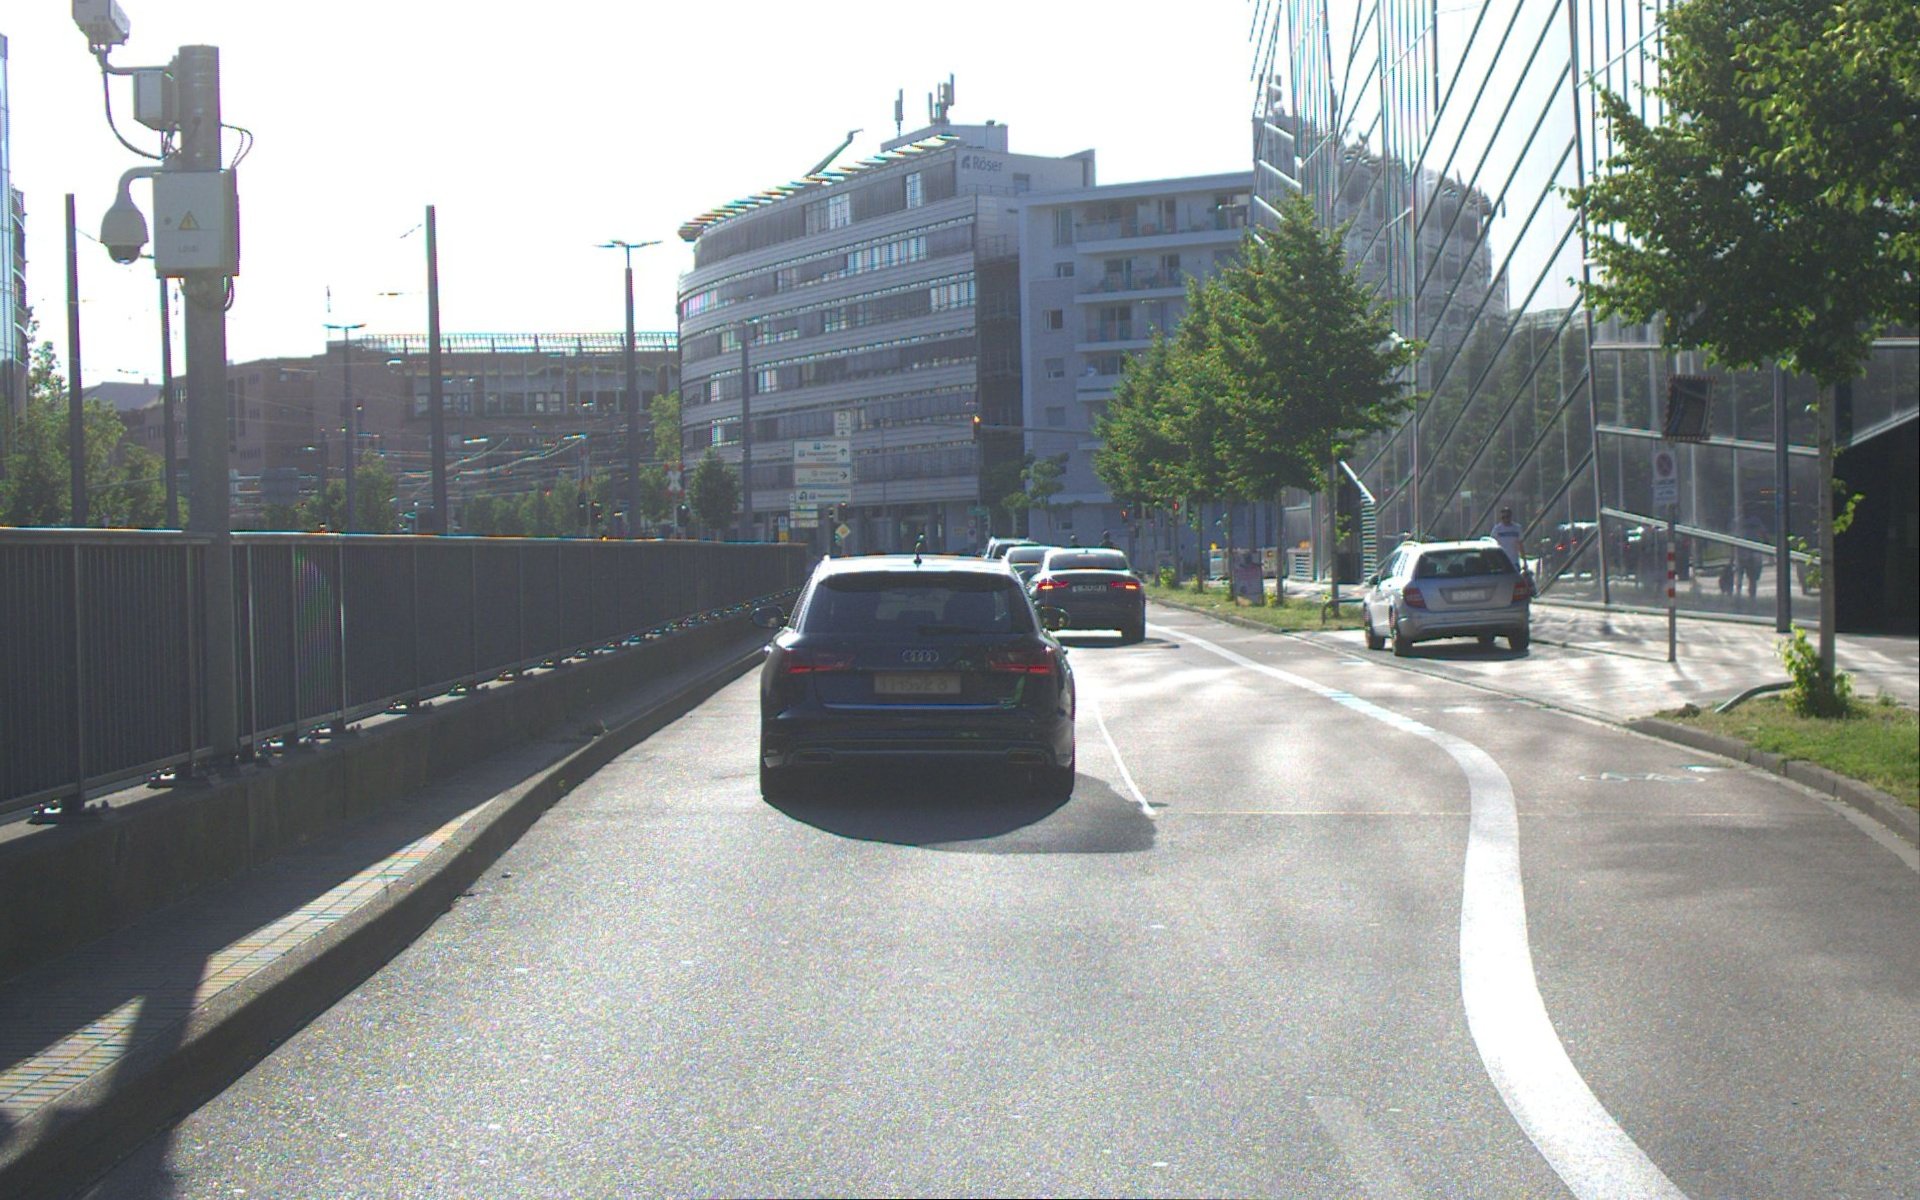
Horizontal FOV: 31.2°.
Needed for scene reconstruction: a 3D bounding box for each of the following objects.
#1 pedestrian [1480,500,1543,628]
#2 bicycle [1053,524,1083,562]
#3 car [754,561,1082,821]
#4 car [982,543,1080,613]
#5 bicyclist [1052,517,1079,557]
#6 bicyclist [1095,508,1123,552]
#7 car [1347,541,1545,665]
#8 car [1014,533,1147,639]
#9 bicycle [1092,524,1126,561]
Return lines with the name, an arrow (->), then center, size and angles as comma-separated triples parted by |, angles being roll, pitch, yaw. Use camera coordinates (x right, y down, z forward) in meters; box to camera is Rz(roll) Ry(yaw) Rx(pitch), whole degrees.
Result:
pedestrian -> 8.824, -0.574, 55.032 | 0.836, 2.007, 0.689 | -2, 1, 1
bicycle -> 3.477, -1.844, 111.167 | 0.724, 1.180, 2.094 | -2, 1, -4
car -> -0.271, 0.487, 21.574 | 1.812, 1.422, 4.690 | -1, 1, -1
car -> 1.544, -0.511, 76.496 | 1.993, 1.460, 4.001 | 0, 2, -1
bicyclist -> 3.406, -2.029, 111.157 | 0.724, 1.264, 1.036 | -2, 1, -4
bicyclist -> 4.860, -2.294, 112.515 | 0.724, 1.413, 0.891 | -2, 1, -7
car -> 6.461, -0.003, 46.202 | 1.852, 1.476, 4.854 | -3, 1, -1
car -> 1.818, -0.248, 52.959 | 1.852, 1.541, 4.000 | 0, 1, -1
bicycle -> 4.864, -1.866, 112.499 | 0.724, 1.180, 2.094 | -2, 1, -7
